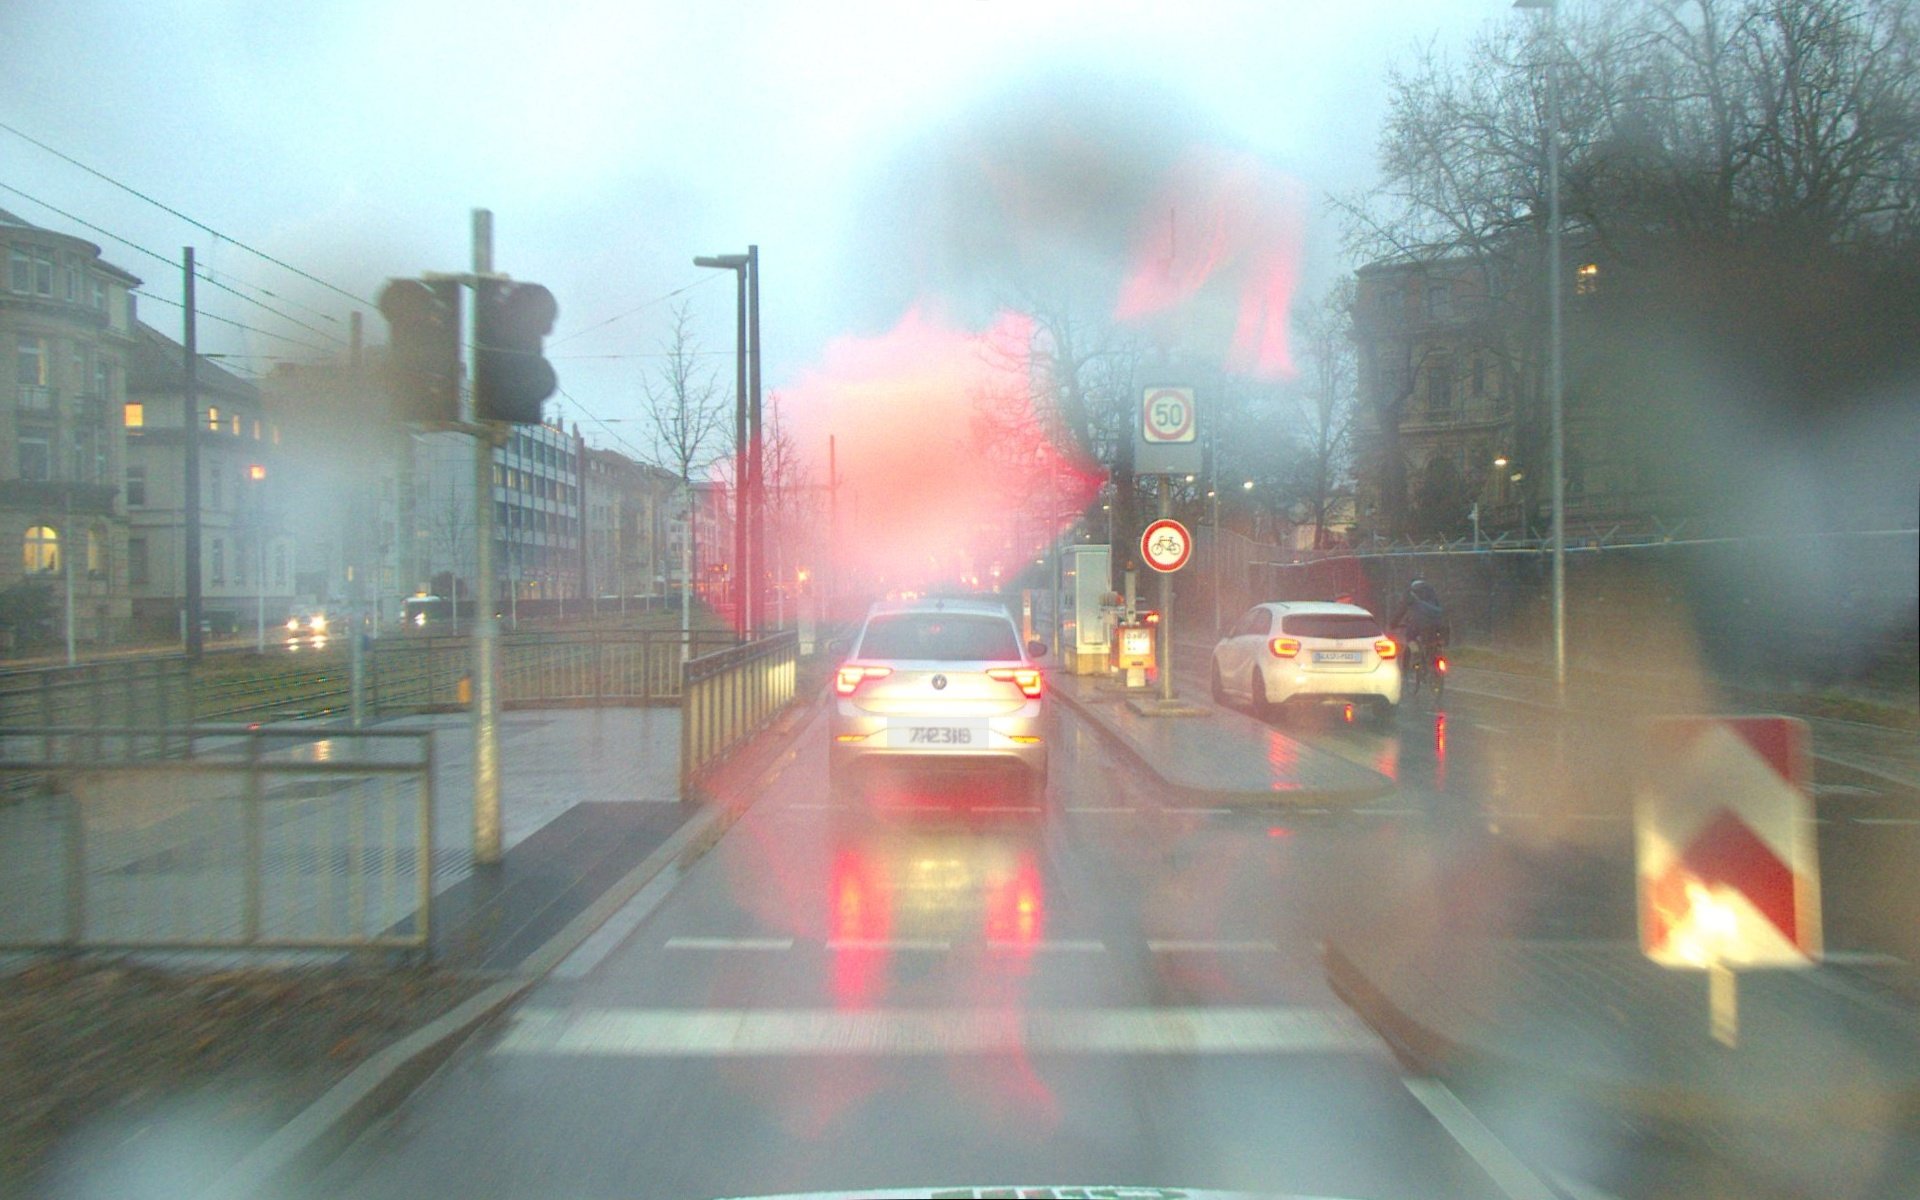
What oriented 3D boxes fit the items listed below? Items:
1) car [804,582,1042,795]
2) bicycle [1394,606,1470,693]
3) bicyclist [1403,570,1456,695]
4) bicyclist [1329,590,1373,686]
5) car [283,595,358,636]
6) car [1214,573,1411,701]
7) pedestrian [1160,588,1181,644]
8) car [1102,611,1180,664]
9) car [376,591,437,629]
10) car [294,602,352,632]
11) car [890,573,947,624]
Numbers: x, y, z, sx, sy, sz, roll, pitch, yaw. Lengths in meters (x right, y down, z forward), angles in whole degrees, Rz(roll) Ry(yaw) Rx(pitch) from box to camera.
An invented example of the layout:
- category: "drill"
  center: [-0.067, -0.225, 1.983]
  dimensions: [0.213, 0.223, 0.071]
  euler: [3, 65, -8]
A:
- category: "car"
  center: [-0.280, 0.663, 13.887]
  dimensions: [1.687, 1.505, 3.999]
  euler: [1, -1, -1]
- category: "bicycle"
  center: [6.945, 0.705, 24.429]
  dimensions: [0.403, 1.206, 2.028]
  euler: [-1, 1, -4]
- category: "bicyclist"
  center: [6.938, 0.468, 24.459]
  dimensions: [0.490, 1.798, 0.836]
  euler: [-1, 0, -4]
- category: "bicyclist"
  center: [6.745, 0.652, 28.547]
  dimensions: [0.490, 1.619, 0.836]
  euler: [-1, 0, -4]
- category: "car"
  center: [-28.844, 0.660, 74.717]
  dimensions: [1.954, 1.722, 4.108]
  euler: [-2, 1, -4]
- category: "car"
  center: [4.504, 0.453, 21.711]
  dimensions: [1.687, 1.505, 3.999]
  euler: [1, 0, -1]
- category: "pedestrian"
  center: [7.323, 0.560, 57.574]
  dimensions: [0.521, 1.912, 0.900]
  euler: [-1, 0, -4]
- category: "car"
  center: [4.795, 0.970, 44.212]
  dimensions: [1.590, 1.322, 3.999]
  euler: [1, 0, -1]
- category: "car"
  center: [-30.529, 0.500, 91.308]
  dimensions: [1.954, 1.966, 4.908]
  euler: [-2, 1, -4]
- category: "car"
  center: [-34.384, 0.893, 89.361]
  dimensions: [1.771, 1.461, 3.924]
  euler: [-2, 1, -4]
- category: "car"
  center: [-1.275, -0.040, 52.325]
  dimensions: [1.687, 1.505, 3.999]
  euler: [1, 0, -1]
